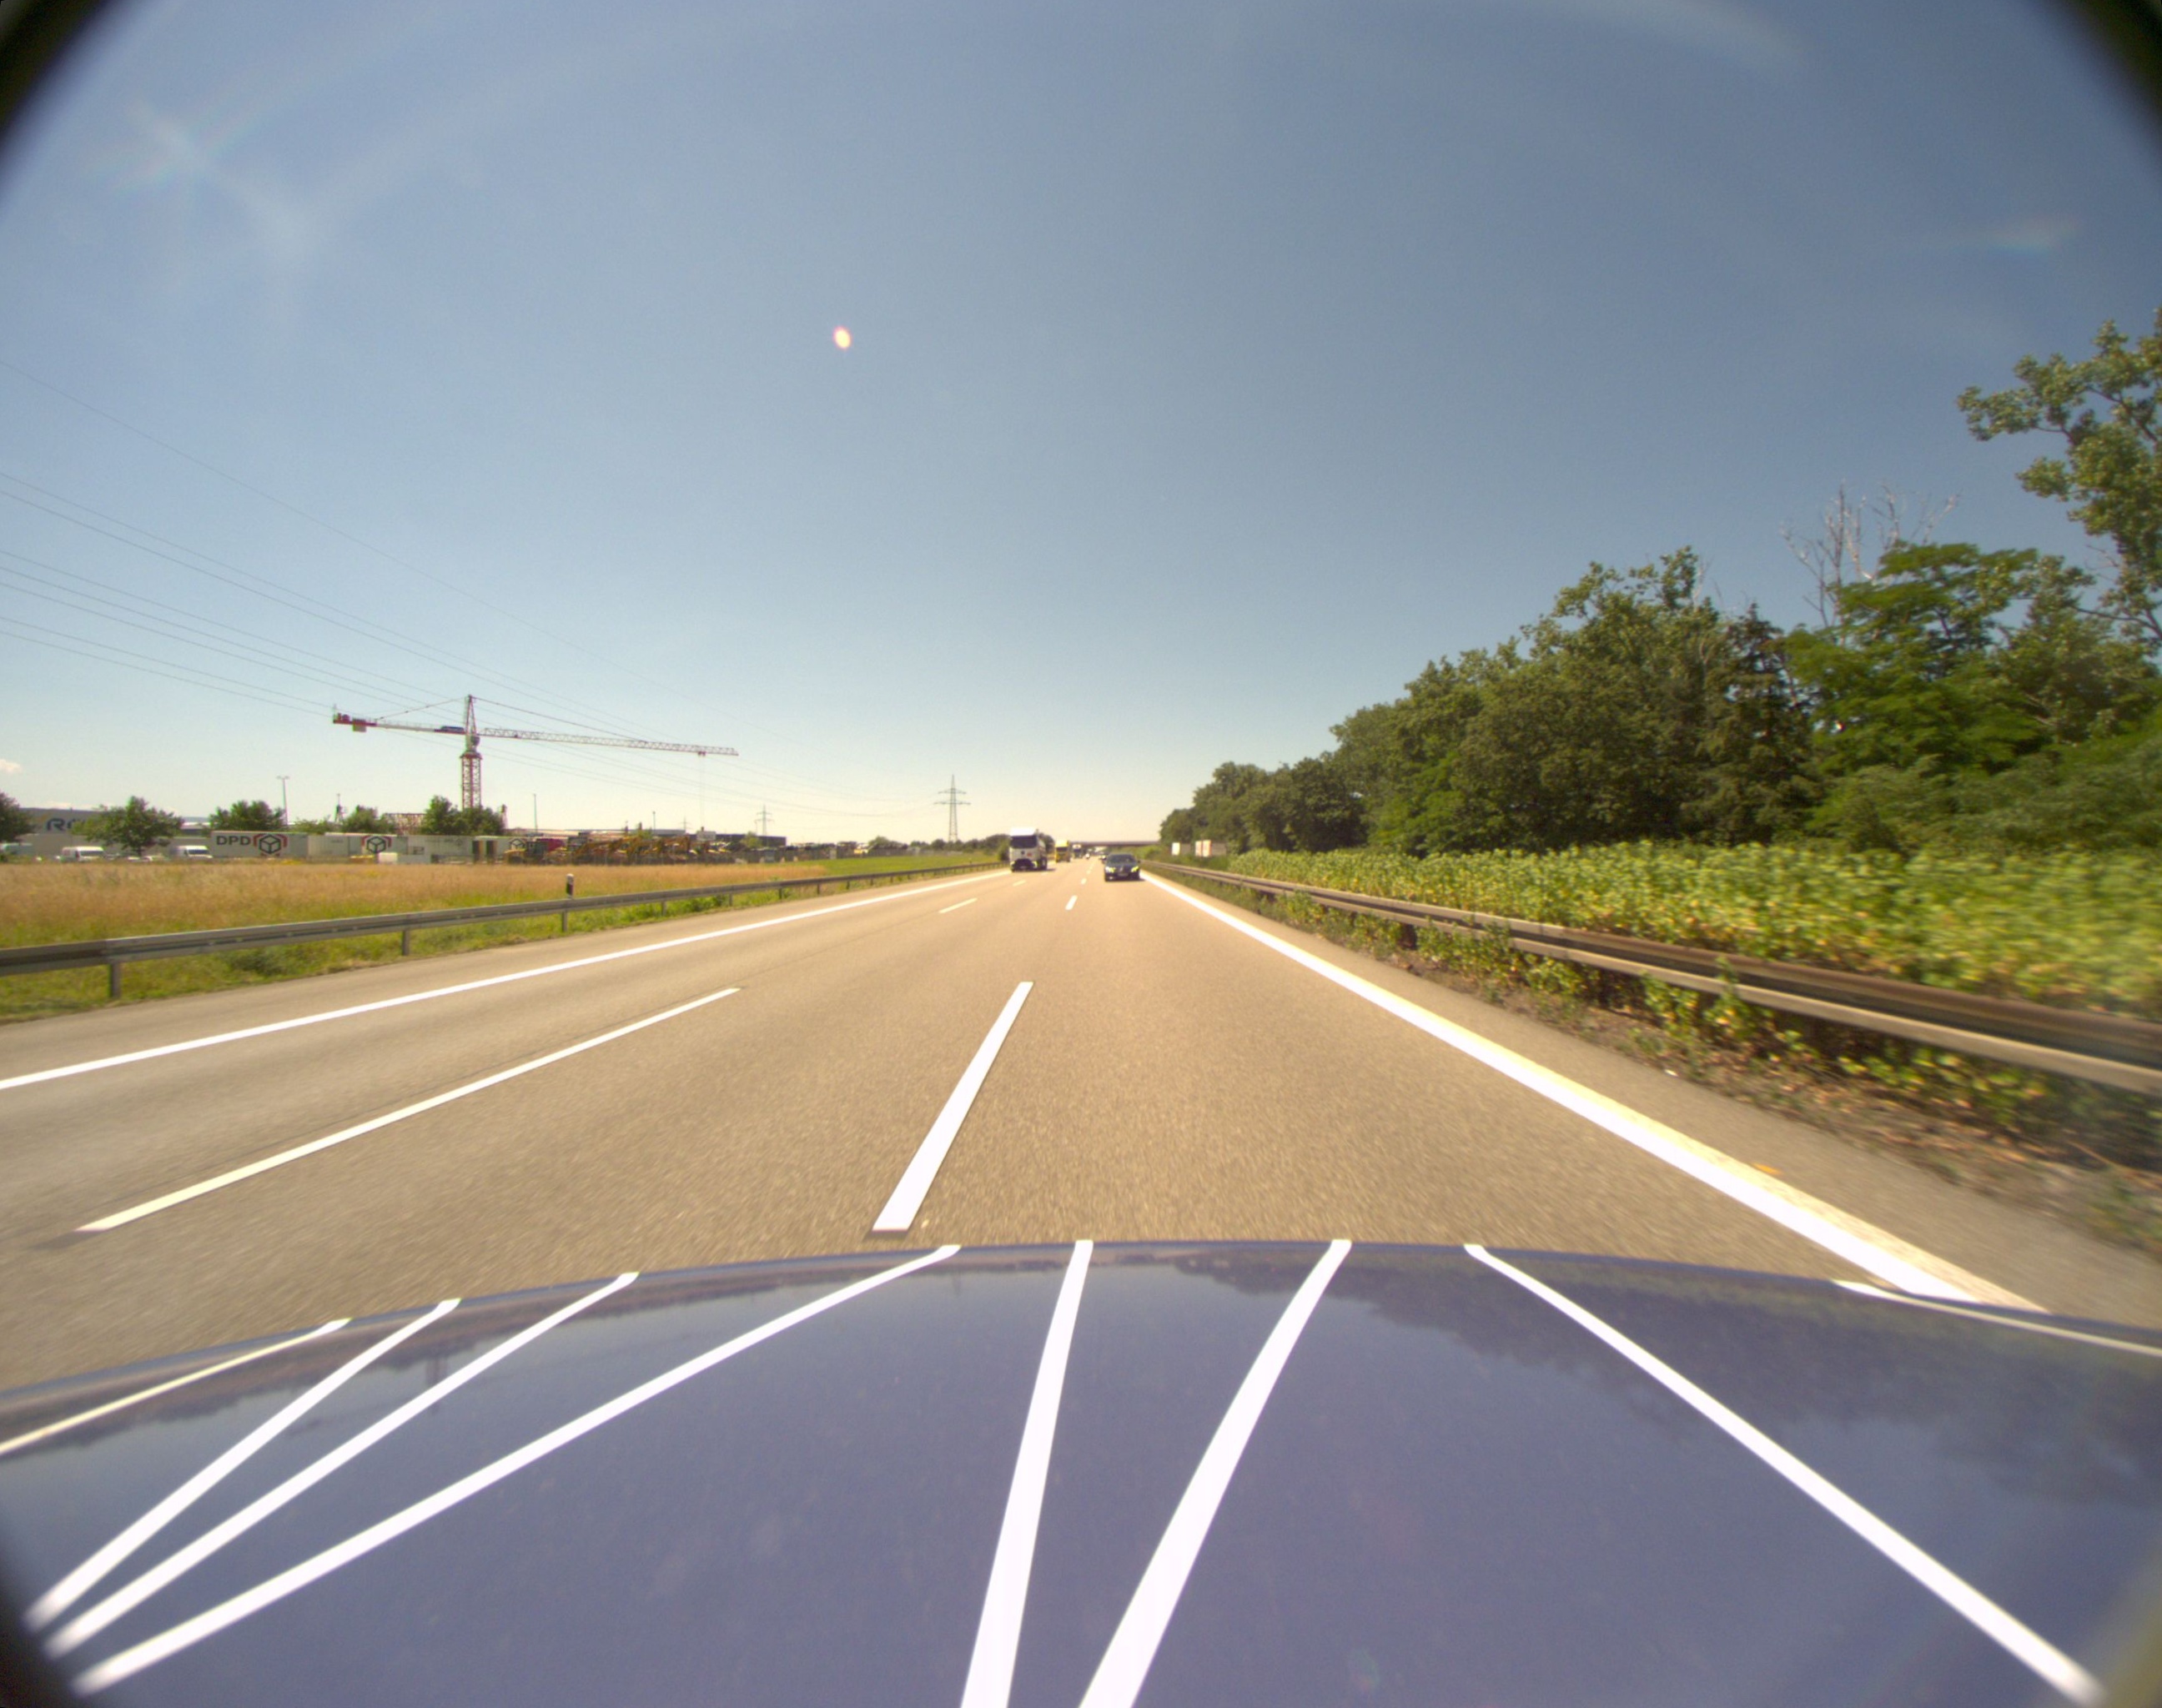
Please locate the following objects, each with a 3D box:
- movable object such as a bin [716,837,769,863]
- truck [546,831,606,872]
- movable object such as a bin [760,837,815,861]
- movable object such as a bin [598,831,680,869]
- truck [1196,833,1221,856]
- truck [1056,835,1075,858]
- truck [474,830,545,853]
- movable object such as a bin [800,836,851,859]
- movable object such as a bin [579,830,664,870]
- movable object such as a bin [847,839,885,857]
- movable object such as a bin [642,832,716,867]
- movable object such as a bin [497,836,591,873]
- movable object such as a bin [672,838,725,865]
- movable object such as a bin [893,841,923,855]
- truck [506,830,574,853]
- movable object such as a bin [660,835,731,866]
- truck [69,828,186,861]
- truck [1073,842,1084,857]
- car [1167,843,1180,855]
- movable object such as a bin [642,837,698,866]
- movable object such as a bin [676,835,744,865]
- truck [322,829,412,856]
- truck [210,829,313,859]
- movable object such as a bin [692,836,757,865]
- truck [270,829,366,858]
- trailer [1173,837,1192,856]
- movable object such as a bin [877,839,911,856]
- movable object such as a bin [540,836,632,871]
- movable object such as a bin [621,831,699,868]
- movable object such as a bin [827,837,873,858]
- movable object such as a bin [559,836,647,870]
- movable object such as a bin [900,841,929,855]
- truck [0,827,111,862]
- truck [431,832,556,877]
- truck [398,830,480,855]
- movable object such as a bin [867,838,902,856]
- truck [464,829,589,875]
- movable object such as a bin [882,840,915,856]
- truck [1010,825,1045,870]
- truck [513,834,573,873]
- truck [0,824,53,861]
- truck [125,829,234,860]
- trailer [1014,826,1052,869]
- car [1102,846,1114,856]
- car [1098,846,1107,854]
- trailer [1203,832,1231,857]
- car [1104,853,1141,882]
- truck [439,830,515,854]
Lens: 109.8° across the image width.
[{"bbox_3d":[-57.705,-0.631,129.547,9.361,4.029,3.442,-2,1,33],"label":"movable object such as a bin"},{"bbox_3d":[-62.423,-0.341,94.108,3.051,4.745,5.982,-2,1,2],"label":"truck"},{"bbox_3d":[-54.904,-0.906,142.227,9.367,4.029,3.440,-2,1,19],"label":"movable object such as a bin"},{"bbox_3d":[-54.014,-0.534,92.951,8.112,4.272,2.881,-2,1,3],"label":"movable object such as a bin"},{"bbox_3d":[22.183,-1.614,132.715,2.933,3.806,9.274,0,1,1],"label":"truck"},{"bbox_3d":[-2.788,-1.417,141.352,2.977,4.240,12.610,0,1,1],"label":"truck"},{"bbox_3d":[-85.841,-1.834,114.299,8.172,3.392,2.835,0,1,-7],"label":"truck"},{"bbox_3d":[-54.207,-1.310,161.288,9.377,4.486,3.437,-2,1,3],"label":"movable object such as a bin"},{"bbox_3d":[-54.010,-0.457,89.451,8.112,4.272,2.881,-2,1,3],"label":"movable object such as a bin"},{"bbox_3d":[-51.592,-1.361,182.377,8.112,3.883,2.881,-2,1,3],"label":"movable object such as a bin"},{"bbox_3d":[-53.787,-0.627,101.809,8.112,4.272,3.299,-2,1,3],"label":"movable object such as a bin"},{"bbox_3d":[-55.560,0.052,78.744,7.583,3.443,2.881,-2,1,3],"label":"movable object such as a bin"},{"bbox_3d":[-72.513,-0.471,143.947,9.584,4.716,3.142,-2,1,20],"label":"movable object such as a bin"},{"bbox_3d":[-51.811,-1.720,227.410,8.112,3.916,2.881,-2,1,3],"label":"movable object such as a bin"},{"bbox_3d":[-84.202,-1.943,118.463,8.174,3.392,2.834,0,1,-10],"label":"truck"},{"bbox_3d":[-53.626,-0.495,105.804,8.112,3.928,3.137,-2,1,3],"label":"movable object such as a bin"},{"bbox_3d":[-100.181,-0.952,79.947,8.170,3.392,2.755,0,1,-5],"label":"truck"},{"bbox_3d":[-0.698,-1.326,226.980,2.977,4.240,12.610,0,1,1],"label":"truck"},{"bbox_3d":[19.384,-1.043,159.398,2.130,2.452,5.085,1,1,0],"label":"car"},{"bbox_3d":[-71.951,-0.403,133.065,8.477,4.777,3.296,-2,1,16],"label":"movable object such as a bin"},{"bbox_3d":[-53.461,-0.537,109.592,8.112,3.928,3.137,-2,1,3],"label":"movable object such as a bin"},{"bbox_3d":[-92.409,-1.406,98.499,8.178,3.392,2.833,0,1,-15],"label":"truck"},{"bbox_3d":[-96.350,-1.154,89.479,8.178,3.392,2.524,0,1,-15],"label":"truck"},{"bbox_3d":[-53.230,-0.584,113.530,8.112,3.928,3.137,-2,1,3],"label":"movable object such as a bin"},{"bbox_3d":[-94.334,-1.283,94.118,8.178,3.392,2.632,0,1,-15],"label":"truck"},{"bbox_3d":[22.814,-1.738,171.112,2.543,4.067,14.245,1,1,1],"label":"trailer"},{"bbox_3d":[-50.880,-1.825,206.897,8.112,4.349,2.881,-2,1,3],"label":"movable object such as a bin"},{"bbox_3d":[-53.808,-0.061,82.749,8.112,3.443,2.881,-2,1,3],"label":"movable object such as a bin"},{"bbox_3d":[-54.121,-0.575,97.844,8.112,4.272,3.351,-2,1,3],"label":"movable object such as a bin"},{"bbox_3d":[-52.732,-1.487,173.638,9.377,4.486,3.437,-2,1,3],"label":"movable object such as a bin"},{"bbox_3d":[-54.147,-0.078,86.138,8.112,3.443,2.881,-2,1,3],"label":"movable object such as a bin"},{"bbox_3d":[-51.164,-1.804,233.491,8.112,3.916,2.881,-2,1,3],"label":"movable object such as a bin"},{"bbox_3d":[-102.275,-0.915,75.301,8.170,3.392,2.755,0,1,-5],"label":"truck"},{"bbox_3d":[-68.792,-0.028,89.716,3.051,4.745,14.134,-2,1,2],"label":"truck"},{"bbox_3d":[-89.440,-1.603,106.004,8.178,3.392,2.833,0,1,-15],"label":"truck"},{"bbox_3d":[-51.068,-1.733,197.850,8.112,4.349,2.881,-2,1,3],"label":"movable object such as a bin"},{"bbox_3d":[-62.695,-0.260,86.682,3.051,4.745,14.324,-2,1,2],"label":"truck"},{"bbox_3d":[-50.635,-1.614,210.675,8.112,3.916,2.881,-2,1,3],"label":"movable object such as a bin"},{"bbox_3d":[-4.805,-0.635,69.648,2.573,3.871,5.722,-2,1,1],"label":"truck"},{"bbox_3d":[-68.508,-0.107,96.957,3.051,4.745,5.982,-2,1,2],"label":"truck"},{"bbox_3d":[-102.628,-1.094,71.182,8.170,3.392,2.755,0,1,-5],"label":"truck"},{"bbox_3d":[-99.506,-1.029,83.983,8.170,3.392,2.755,0,1,-5],"label":"truck"},{"bbox_3d":[-4.668,-0.705,76.501,2.573,3.871,13.279,-2,1,1],"label":"trailer"},{"bbox_3d":[4.525,-0.506,128.160,1.861,1.696,4.000,0,1,1],"label":"car"},{"bbox_3d":[4.519,-0.907,162.459,1.861,1.696,4.000,0,1,1],"label":"car"},{"bbox_3d":[22.024,-1.521,123.463,2.933,3.806,9.274,0,1,1],"label":"trailer"},{"bbox_3d":[2.176,0.675,40.908,1.808,1.385,4.000,-2,1,1],"label":"car"},{"bbox_3d":[-87.458,-1.726,110.110,8.178,3.392,2.833,0,1,-15],"label":"truck"}]
